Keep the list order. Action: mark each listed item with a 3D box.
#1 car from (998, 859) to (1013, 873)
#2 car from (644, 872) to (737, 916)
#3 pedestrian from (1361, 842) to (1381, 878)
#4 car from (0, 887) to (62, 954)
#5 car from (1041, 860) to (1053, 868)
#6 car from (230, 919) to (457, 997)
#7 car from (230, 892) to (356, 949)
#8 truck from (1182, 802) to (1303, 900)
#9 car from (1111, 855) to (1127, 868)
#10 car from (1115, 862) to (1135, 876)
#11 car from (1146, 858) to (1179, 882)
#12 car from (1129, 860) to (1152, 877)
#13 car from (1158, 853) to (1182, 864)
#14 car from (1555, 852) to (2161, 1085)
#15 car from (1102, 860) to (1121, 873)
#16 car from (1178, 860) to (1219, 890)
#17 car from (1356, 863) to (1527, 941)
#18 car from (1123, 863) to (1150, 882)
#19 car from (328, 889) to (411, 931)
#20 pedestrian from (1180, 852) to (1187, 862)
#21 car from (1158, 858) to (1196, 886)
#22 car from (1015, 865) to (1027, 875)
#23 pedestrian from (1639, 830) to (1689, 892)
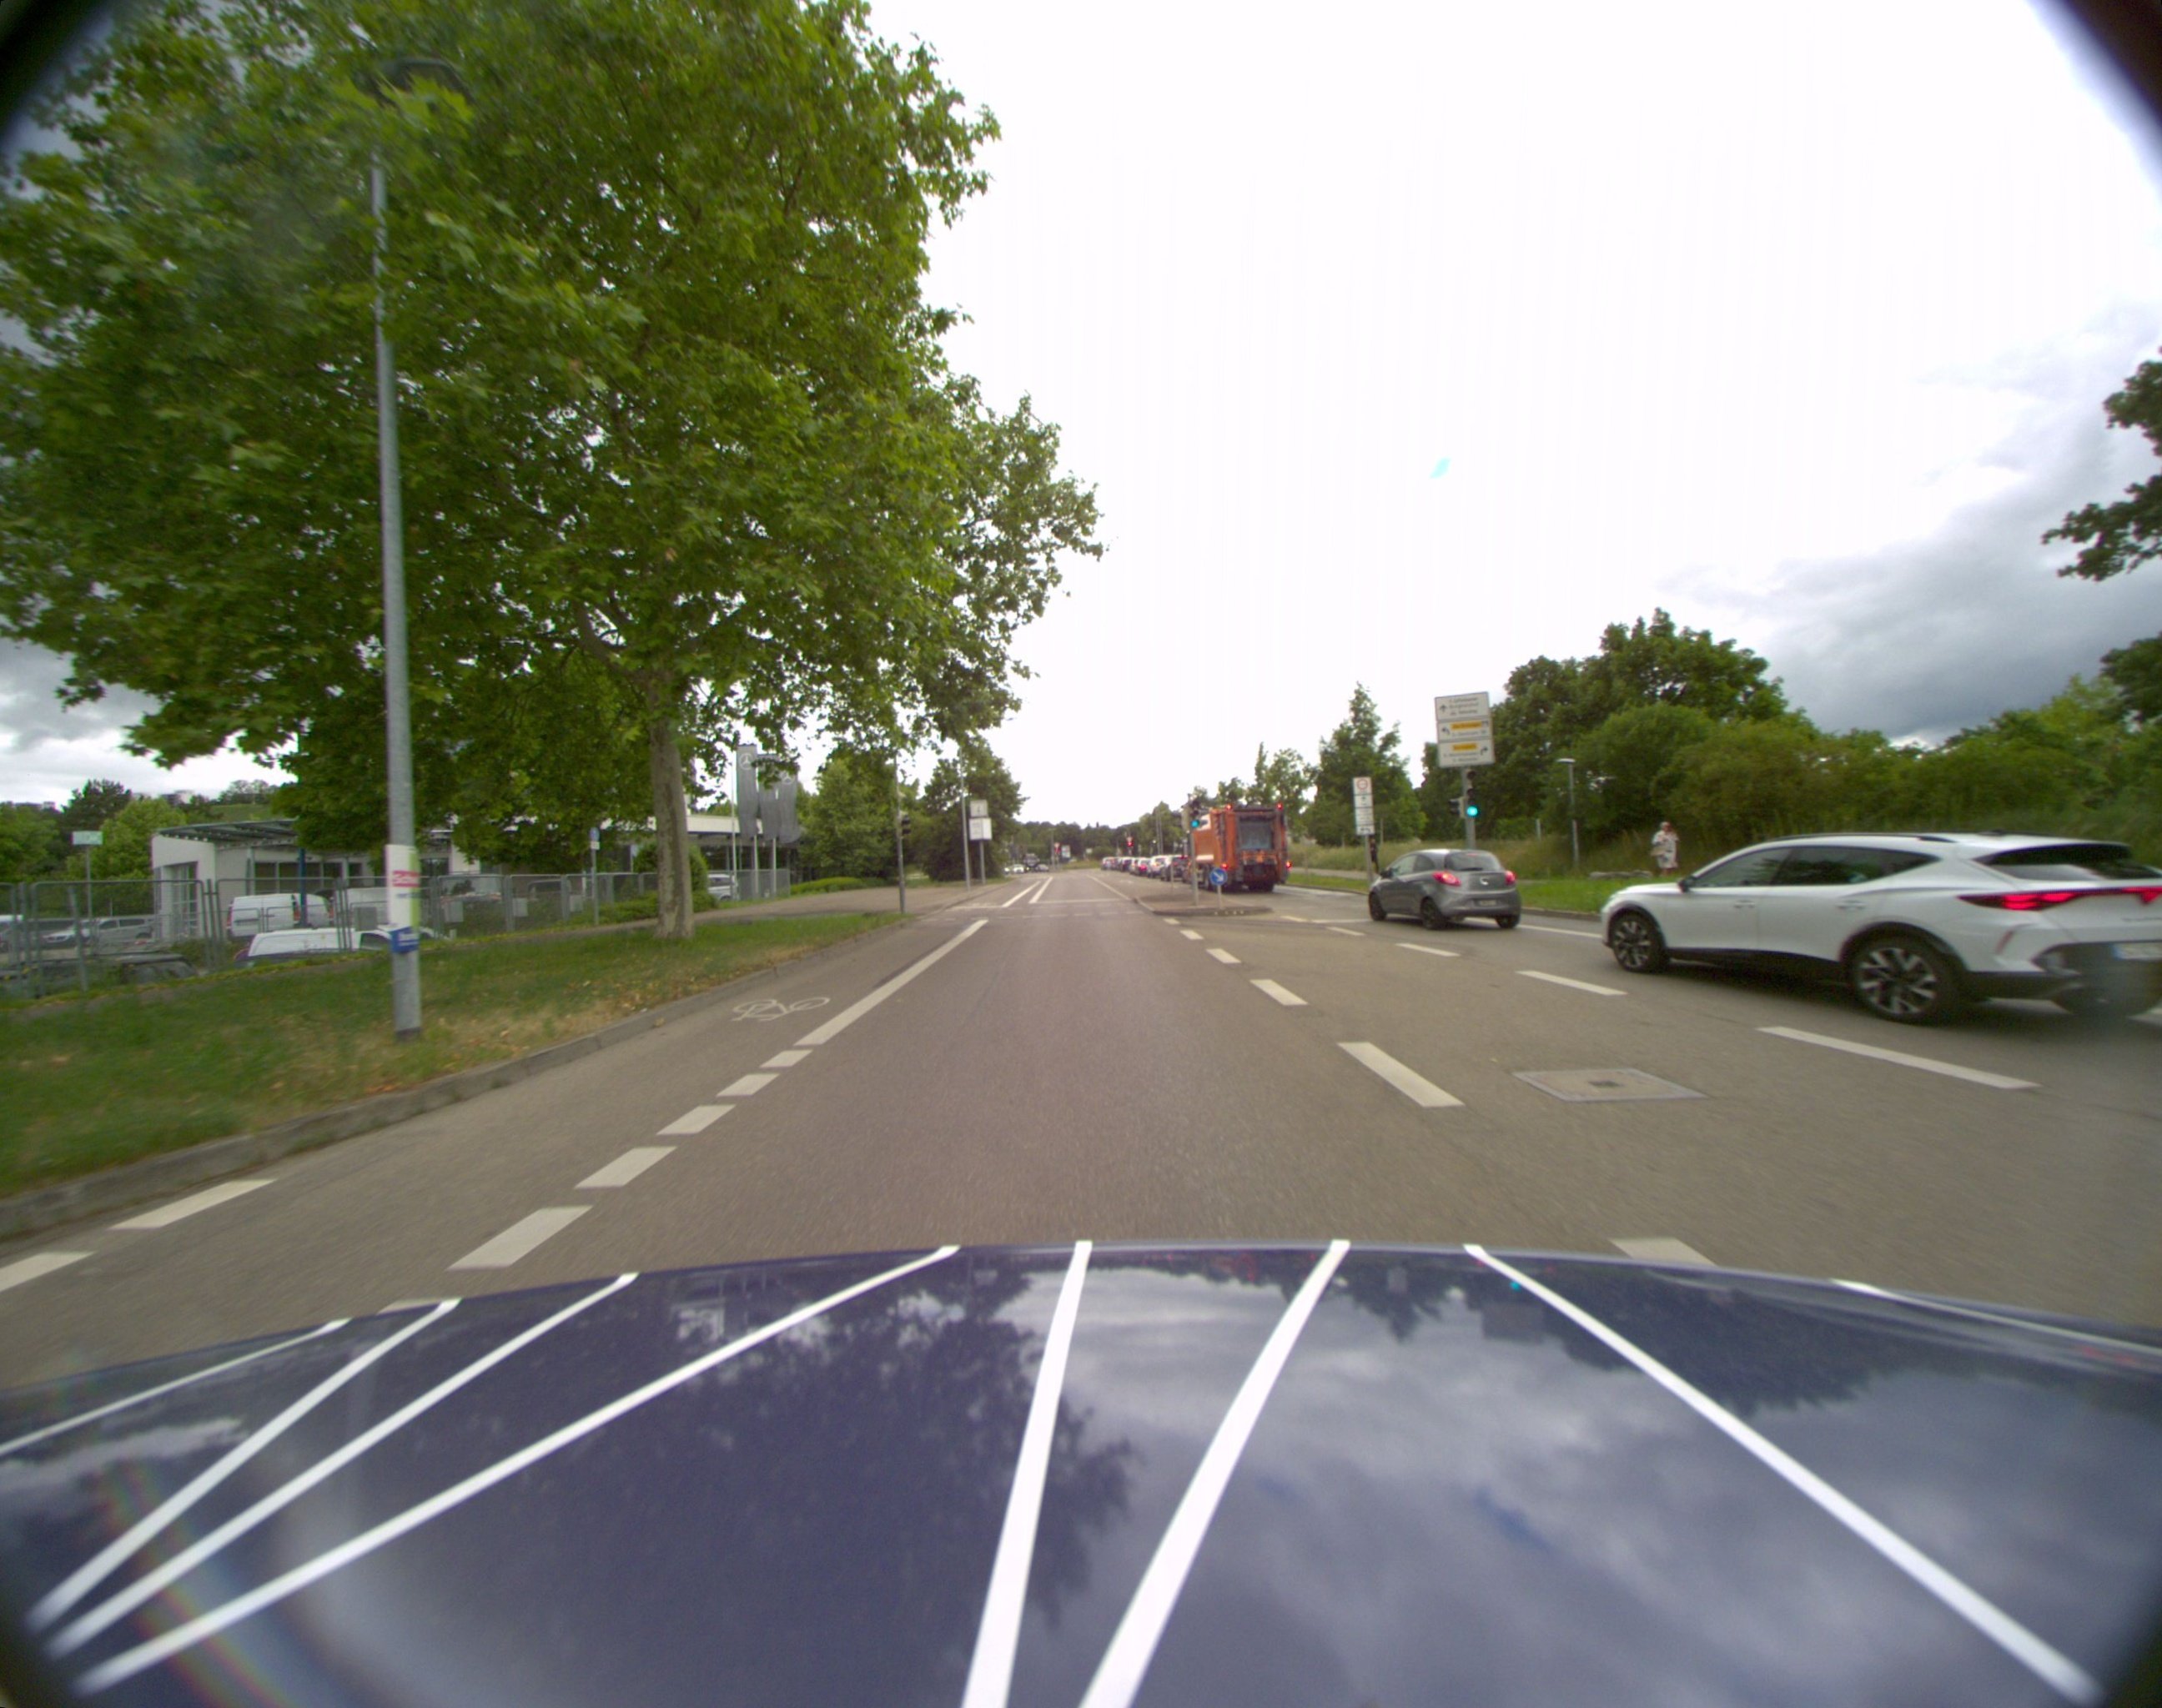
[{"bbox_3d":[-15.075,2.408,151.573,2.229,2.642,5.955,-5,-1,-13],"label":"car"},{"bbox_3d":[-20.987,2.118,40.929,4.007,2.013,1.995,-3,0,-40],"label":"car"},{"bbox_3d":[15.084,0.298,39.547,0.723,1.825,0.677,-3,0,-1],"label":"pedestrian"},{"bbox_3d":[-42.263,2.757,28.405,1.999,2.314,4.423,-12,4,-5],"label":"car"},{"bbox_3d":[-6.479,1.937,145.192,1.636,1.433,3.863,-4,-1,-12],"label":"car"},{"bbox_3d":[-19.958,2.775,20.746,3.999,1.608,1.999,-3,0,-6],"label":"car"},{"bbox_3d":[-28.563,2.338,27.693,1.628,1.746,3.591,-3,0,-18],"label":"car"},{"bbox_3d":[6.553,-0.046,32.674,2.713,3.466,9.994,-3,-1,-1],"label":"truck"},{"bbox_3d":[4.534,0.919,90.888,1.432,1.517,2.774,-3,-1,-4],"label":"car"},{"bbox_3d":[4.491,1.562,78.373,1.644,1.324,4.060,-3,-1,-2],"label":"car"},{"bbox_3d":[5.879,1.170,55.309,1.735,1.576,4.223,-3,-1,-2],"label":"car"},{"bbox_3d":[5.343,1.304,68.799,1.644,1.382,3.762,-3,-1,-2],"label":"car"},{"bbox_3d":[17.357,0.887,147.743,4.222,1.769,1.814,-4,0,-8],"label":"car"},{"bbox_3d":[7.171,0.770,7.448,1.851,1.511,4.814,-1,0,-3],"label":"car"},{"bbox_3d":[3.904,1.551,97.538,1.832,1.526,4.218,-3,-1,-6],"label":"car"},{"bbox_3d":[6.364,1.123,41.490,1.438,1.449,3.894,-3,-1,-2],"label":"car"},{"bbox_3d":[6.946,0.860,15.067,1.551,1.323,3.653,-1,0,-2],"label":"car"},{"bbox_3d":[4.488,1.509,62.343,1.644,1.382,4.884,-3,-1,-2],"label":"car"},{"bbox_3d":[-26.527,2.048,28.438,1.629,1.341,3.588,-3,0,-34],"label":"car"},{"bbox_3d":[13.274,0.387,98.464,0.551,1.355,0.773,-4,0,-10],"label":"pedestrian"},{"bbox_3d":[5.914,1.075,47.124,1.644,1.576,4.060,-3,-1,-2],"label":"car"},{"bbox_3d":[-12.027,3.205,153.038,2.120,1.979,4.987,-5,0,-4],"label":"car"},{"bbox_3d":[16.087,0.199,20.977,0.746,1.642,0.753,-3,0,0],"label":"pedestrian"}]
